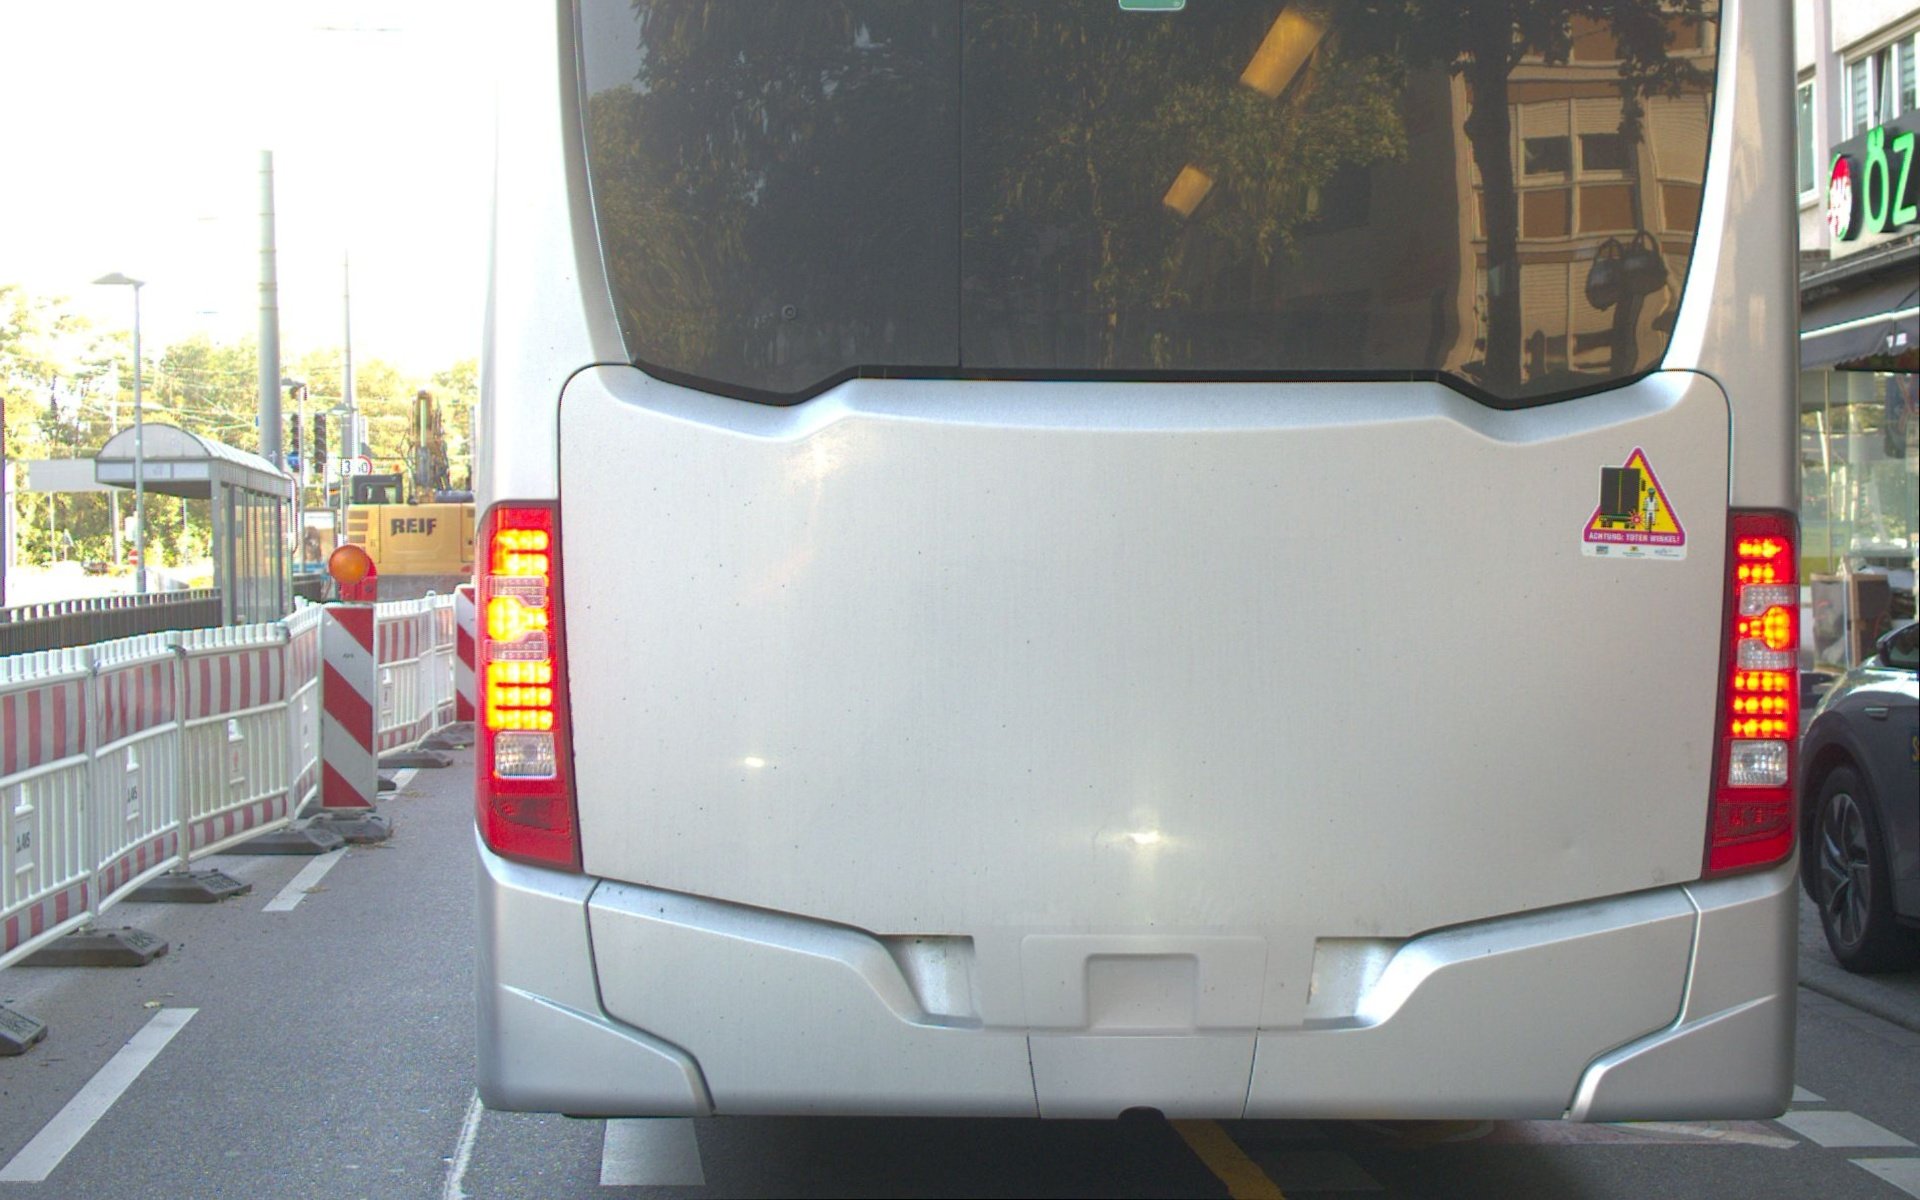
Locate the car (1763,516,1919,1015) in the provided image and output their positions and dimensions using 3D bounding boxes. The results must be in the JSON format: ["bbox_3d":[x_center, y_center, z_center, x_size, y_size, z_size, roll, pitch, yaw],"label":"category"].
[{"bbox_3d":[3.981,0.503,10.294,1.739,1.592,4.300,-3,1,-5],"label":"car"}]

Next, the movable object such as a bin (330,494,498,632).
[{"bbox_3d":[-10.053,-0.700,63.664,2.806,2.453,4.001,-1,1,-5],"label":"movable object such as a bin"}]

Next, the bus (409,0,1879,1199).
[{"bbox_3d":[0.221,-0.275,11.250,2.608,3.159,10.292,0,1,-1],"label":"bus"}]
